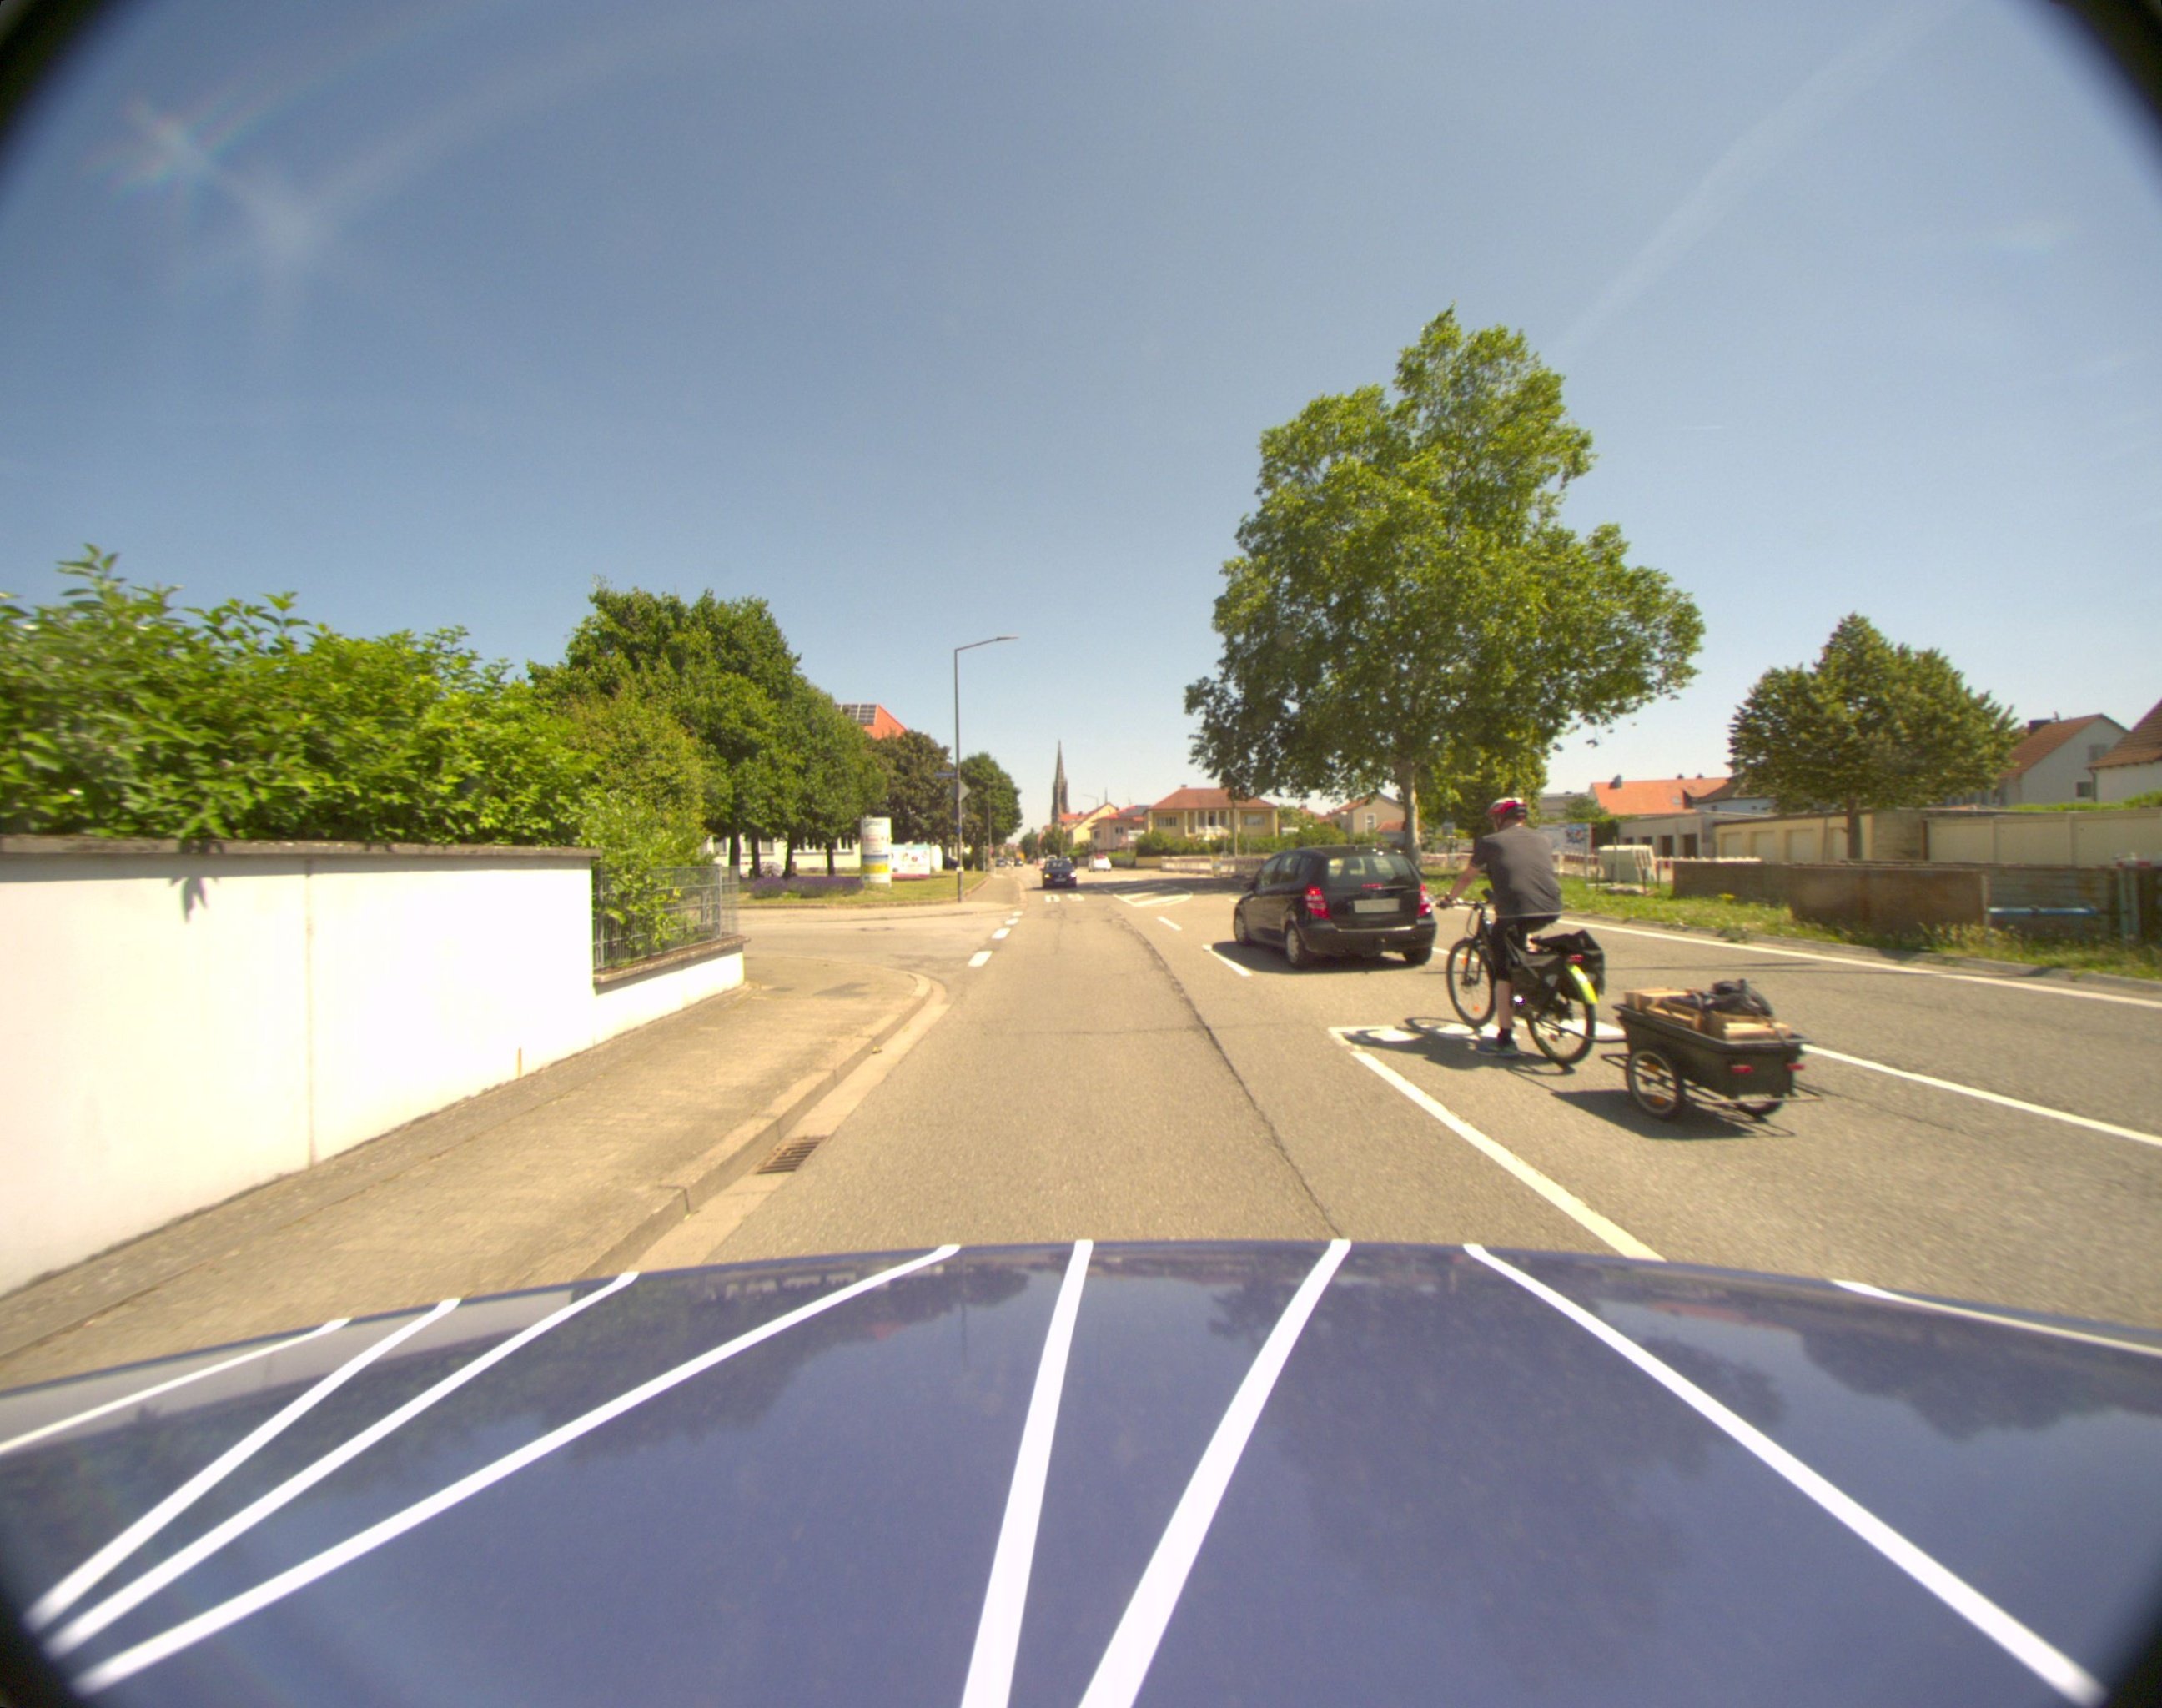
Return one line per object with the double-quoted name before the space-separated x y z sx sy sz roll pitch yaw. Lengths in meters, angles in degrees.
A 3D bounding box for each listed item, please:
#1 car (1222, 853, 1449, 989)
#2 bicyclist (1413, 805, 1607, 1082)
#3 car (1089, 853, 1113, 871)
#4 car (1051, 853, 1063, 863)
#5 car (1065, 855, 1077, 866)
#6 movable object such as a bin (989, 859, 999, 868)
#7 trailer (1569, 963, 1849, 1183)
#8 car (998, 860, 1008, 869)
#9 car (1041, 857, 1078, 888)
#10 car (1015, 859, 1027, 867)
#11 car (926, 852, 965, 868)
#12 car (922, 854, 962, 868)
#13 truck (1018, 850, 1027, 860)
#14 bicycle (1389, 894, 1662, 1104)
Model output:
"car" 3.383 0.787 10.914 1.730 1.523 3.829 -3 0 -3
"bicyclist" 3.133 0.609 5.651 0.848 1.855 0.976 -2 1 0
"car" 1.798 0.744 69.281 1.704 1.501 3.457 -3 0 -6
"car" -4.239 0.668 133.741 1.719 1.776 3.887 -1 0 -8
"car" -1.513 0.995 112.739 1.390 1.568 3.319 -1 0 -8
"movable object such as a bin" -13.708 1.457 120.092 1.500 1.472 1.422 -1 0 -8
"trailer" 3.289 1.102 4.104 0.572 0.851 1.132 -1 0 0
"car" -13.233 1.703 128.488 1.608 1.403 3.907 -2 0 -7
"car" -1.117 0.901 38.504 1.608 1.436 3.907 -2 0 -5
"car" -10.550 1.585 132.748 1.712 1.449 3.561 -1 0 -10
"car" -15.559 0.690 87.421 4.370 1.776 1.998 1 0 -9
"car" -15.431 0.750 84.569 4.370 1.427 1.998 1 0 -9
"truck" -16.839 0.257 218.989 2.224 2.920 5.347 -1 0 -8
"bicycle" 3.142 0.949 5.676 0.852 1.159 1.977 -2 0 0
